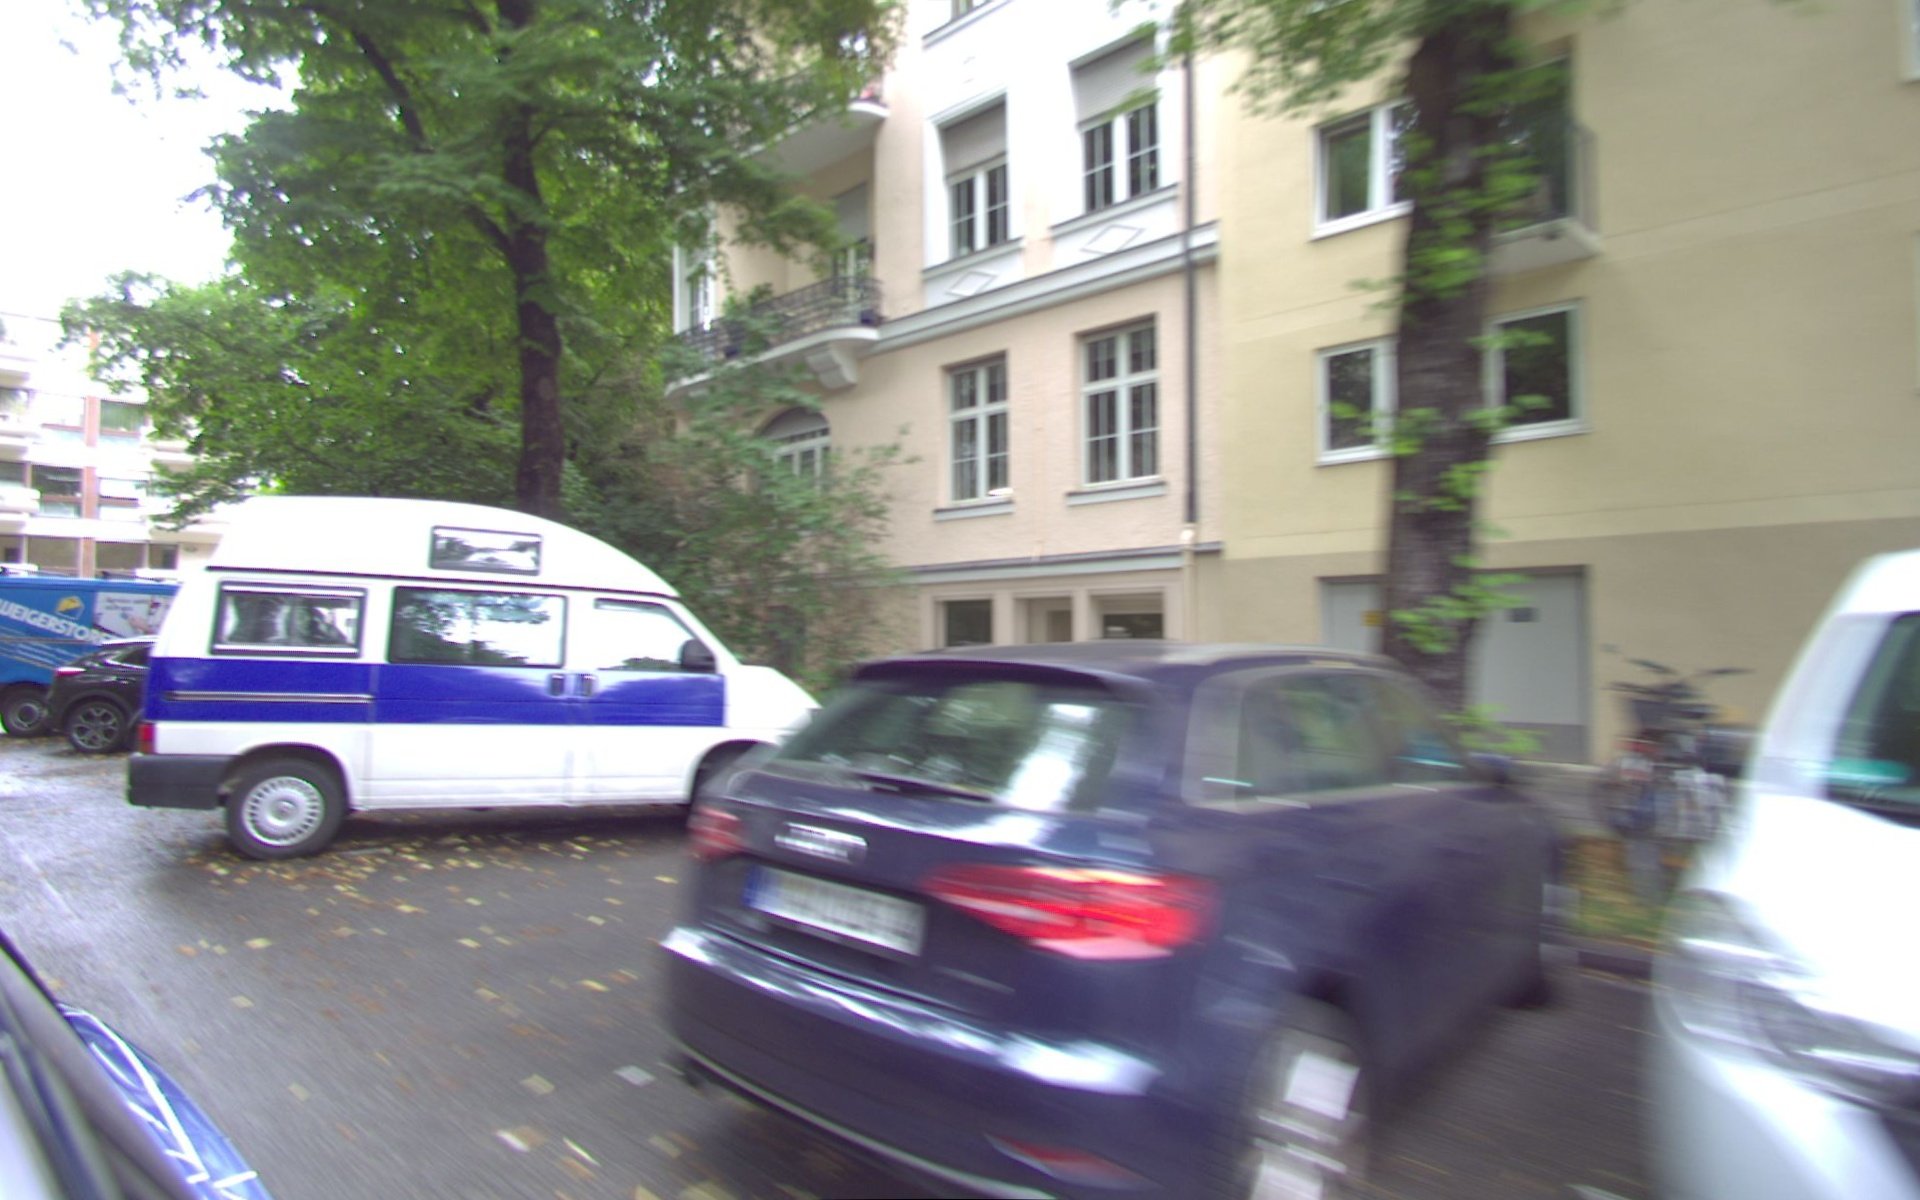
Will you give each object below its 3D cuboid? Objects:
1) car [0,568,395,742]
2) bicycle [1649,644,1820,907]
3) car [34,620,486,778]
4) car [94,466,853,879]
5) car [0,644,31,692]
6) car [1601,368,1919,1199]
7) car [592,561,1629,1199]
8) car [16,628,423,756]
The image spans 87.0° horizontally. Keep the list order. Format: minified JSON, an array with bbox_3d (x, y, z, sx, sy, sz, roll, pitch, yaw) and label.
[{"bbox_3d":[-12.052,0.847,15.566,5.404,2.372,2.070,3,-3,-12],"label":"car"},{"bbox_3d":[4.343,0.876,5.635,1.660,1.245,0.489,2,-3,-44],"label":"bicycle"},{"bbox_3d":[-7.653,1.084,11.532,3.801,1.572,1.821,2,-3,-17],"label":"car"},{"bbox_3d":[-3.274,0.522,7.650,4.504,2.396,1.911,2,-3,-23],"label":"car"},{"bbox_3d":[-33.072,2.374,34.763,1.695,1.466,4.246,2,-6,-42],"label":"car"},{"bbox_3d":[3.194,0.621,2.455,1.849,1.745,4.263,-3,-4,45],"label":"car"},{"bbox_3d":[0.986,0.773,3.578,1.735,1.444,3.944,-3,-4,41],"label":"car"},{"bbox_3d":[-9.633,1.204,13.508,3.936,1.548,1.819,2,-3,-9],"label":"car"}]
